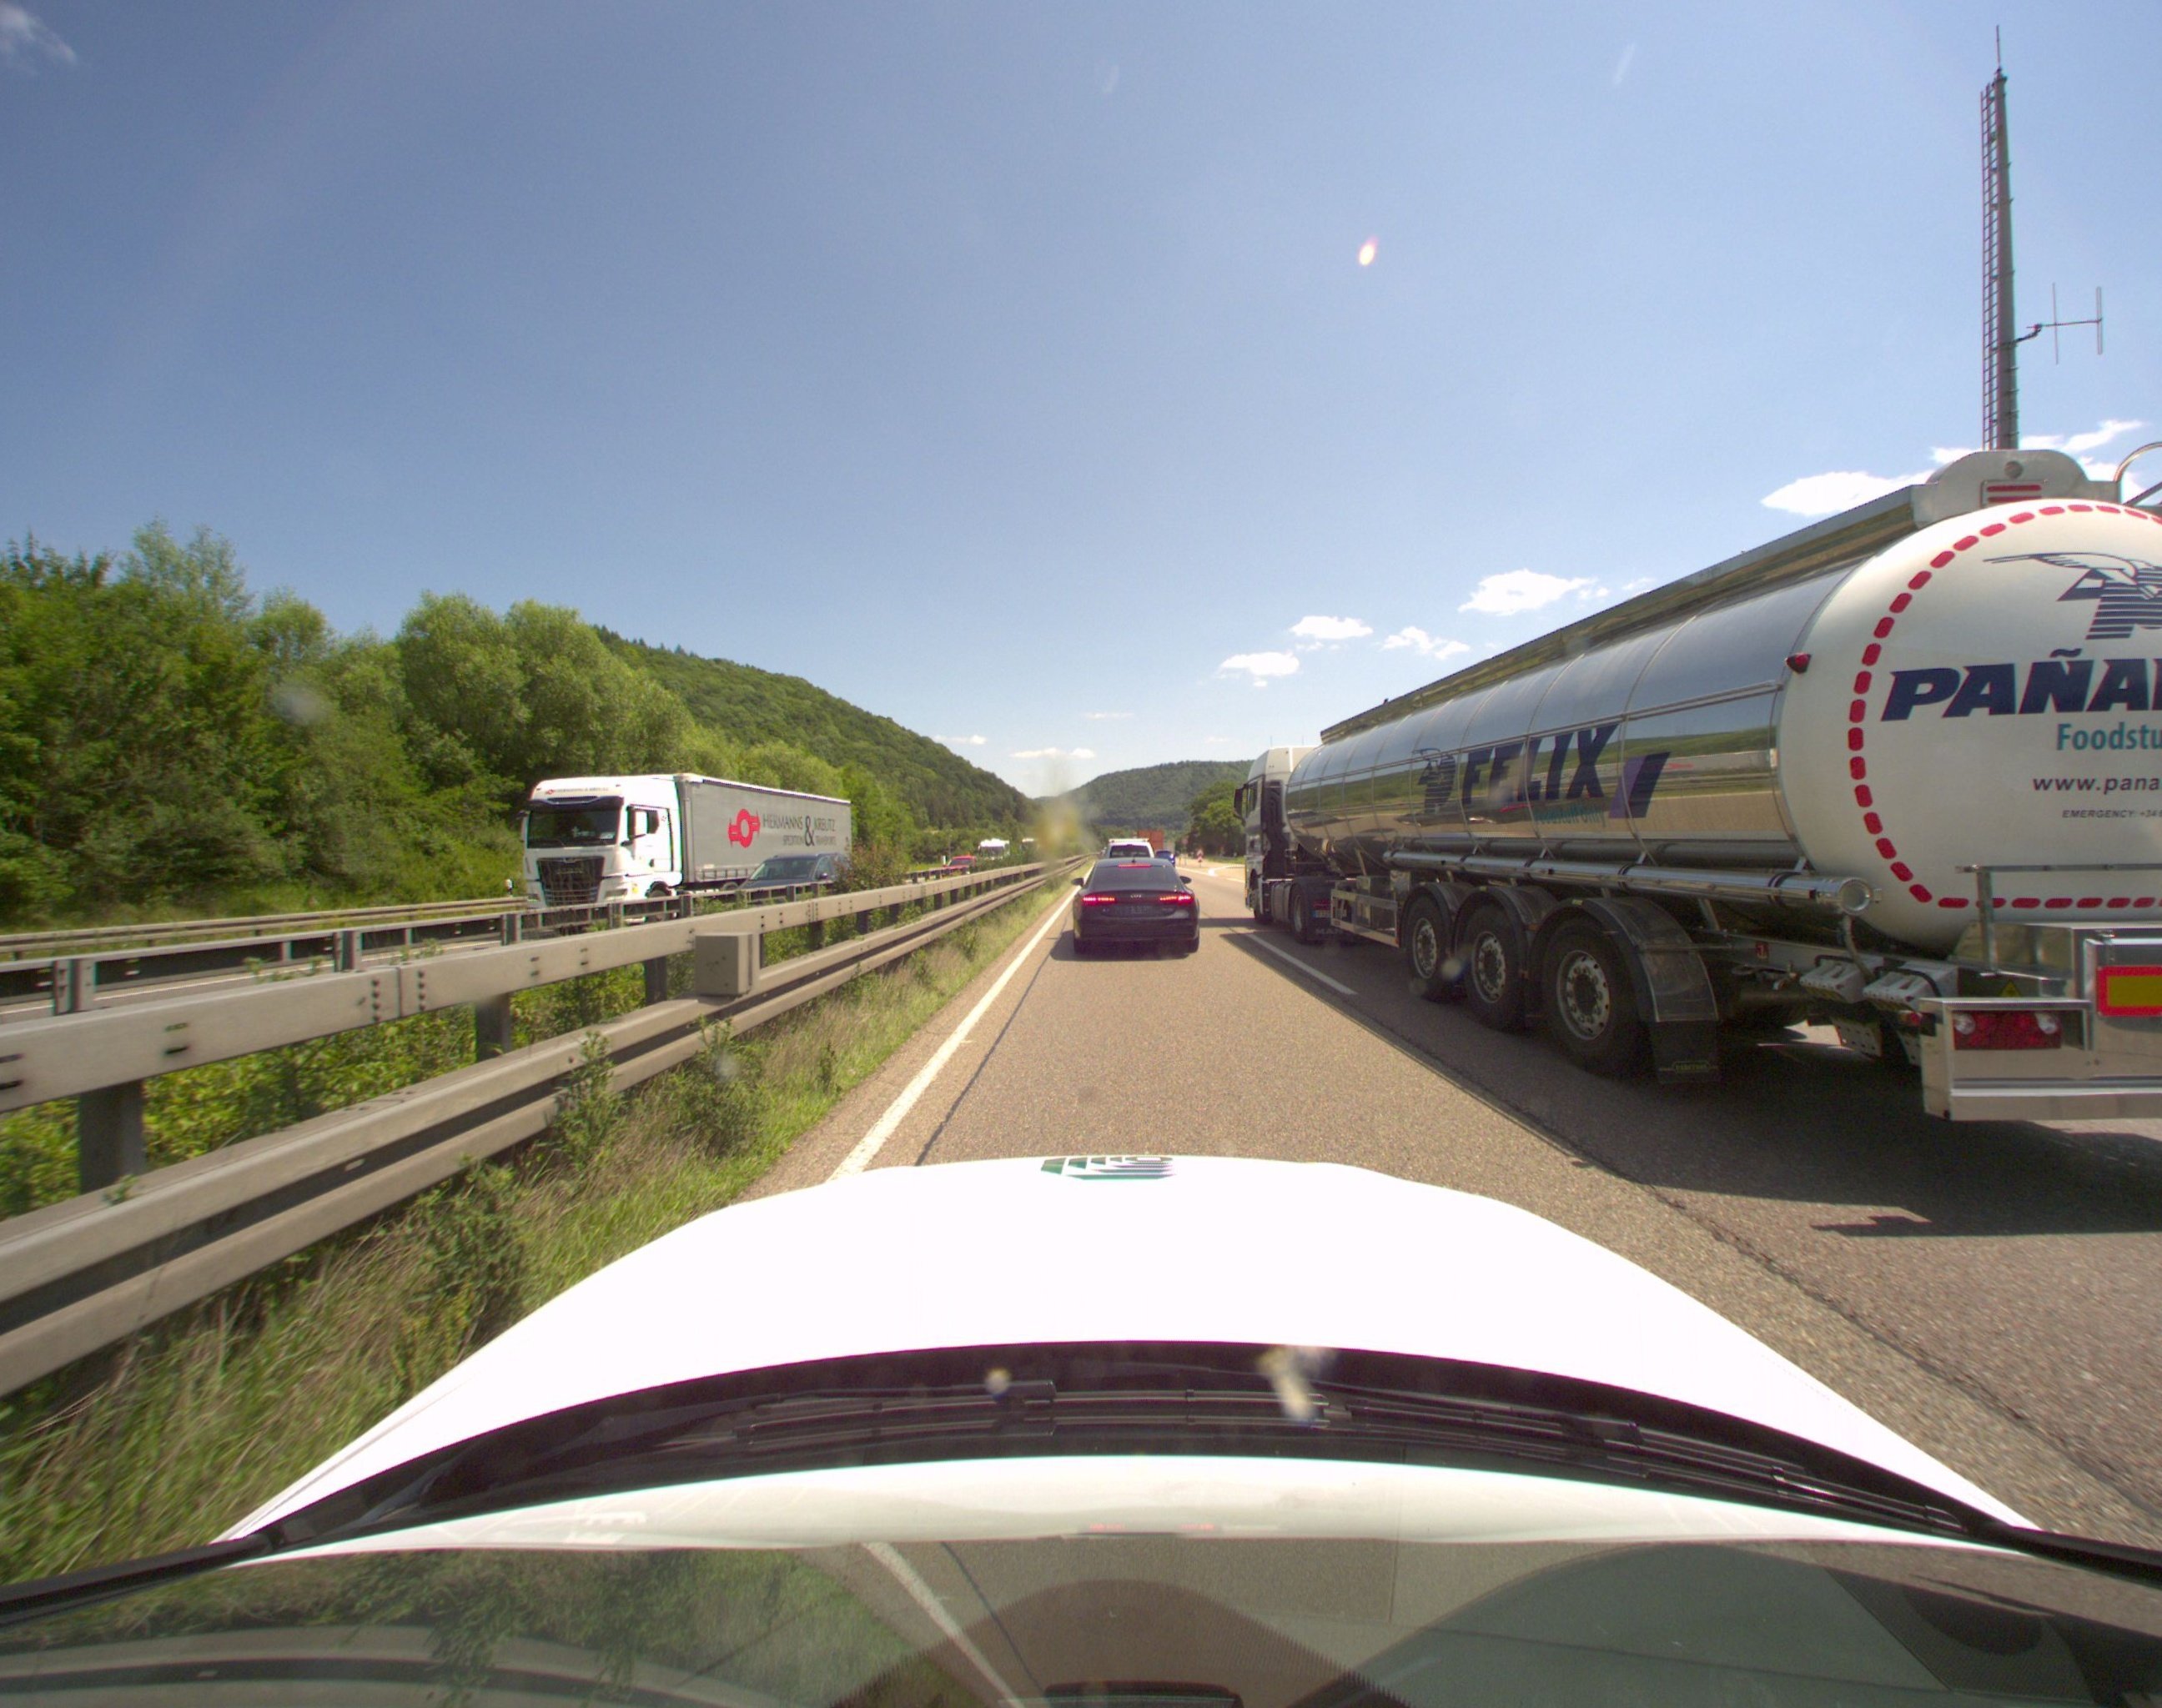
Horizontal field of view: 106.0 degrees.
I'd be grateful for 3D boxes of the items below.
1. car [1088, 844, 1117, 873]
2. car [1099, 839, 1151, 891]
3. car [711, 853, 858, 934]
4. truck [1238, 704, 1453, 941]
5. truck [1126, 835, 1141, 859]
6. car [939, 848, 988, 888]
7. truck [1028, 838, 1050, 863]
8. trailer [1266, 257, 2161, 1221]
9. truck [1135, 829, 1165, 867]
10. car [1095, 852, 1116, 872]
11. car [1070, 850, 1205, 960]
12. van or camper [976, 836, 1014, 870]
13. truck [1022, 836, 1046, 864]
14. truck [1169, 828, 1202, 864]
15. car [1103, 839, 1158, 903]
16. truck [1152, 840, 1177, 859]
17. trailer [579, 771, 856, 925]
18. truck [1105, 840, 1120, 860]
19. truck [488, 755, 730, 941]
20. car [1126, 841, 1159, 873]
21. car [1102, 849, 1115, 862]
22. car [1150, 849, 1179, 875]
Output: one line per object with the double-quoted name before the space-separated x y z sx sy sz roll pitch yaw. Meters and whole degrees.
"car" 1.551 0.325 59.370 1.986 2.013 4.001 -2 0 1
"car" 1.778 0.412 33.671 1.986 2.013 4.002 -1 0 2
"car" -7.267 0.876 20.521 1.915 1.796 4.601 -1 0 1
"truck" 4.737 -0.518 15.646 2.502 3.758 5.247 -1 0 1
"truck" 7.853 -1.084 123.044 1.986 3.447 11.817 -1 0 2
"car" -6.263 0.698 43.791 1.987 2.013 4.333 -1 0 0
"truck" -6.880 -0.641 135.593 2.858 3.980 9.035 -1 0 2
"trailer" 4.566 -0.475 9.107 2.529 3.735 11.895 -1 0 1
"truck" 7.717 -0.655 92.586 2.806 4.003 14.966 -1 0 3
"car" 2.165 0.681 70.776 1.705 1.618 4.003 -2 0 3
"car" 0.778 0.694 13.266 1.843 1.488 4.082 -1 0 0
"van or camper" -8.882 -0.142 85.266 2.579 3.335 7.656 -2 0 4
"truck" -7.147 -0.614 126.000 2.859 4.006 10.174 -1 0 1
"truck" 12.553 -0.969 99.191 2.806 4.003 14.966 -1 0 3
"car" 1.501 0.486 25.610 1.570 1.833 4.002 -1 0 2
"truck" 20.592 -1.154 200.670 3.766 4.414 15.013 -2 0 14
"trailer" -11.428 -0.178 28.309 2.772 3.999 14.167 -1 0 2
"truck" 5.847 -0.743 150.045 2.618 3.440 11.427 -2 0 2
"truck" -11.590 -0.137 20.689 2.717 4.001 5.372 -2 0 2
"car" 4.092 0.208 54.630 1.986 2.013 4.002 -2 0 2
"car" 3.858 0.199 114.106 1.705 1.618 4.003 -2 0 3
"car" 6.587 0.611 64.543 1.985 2.002 4.003 -2 0 3
